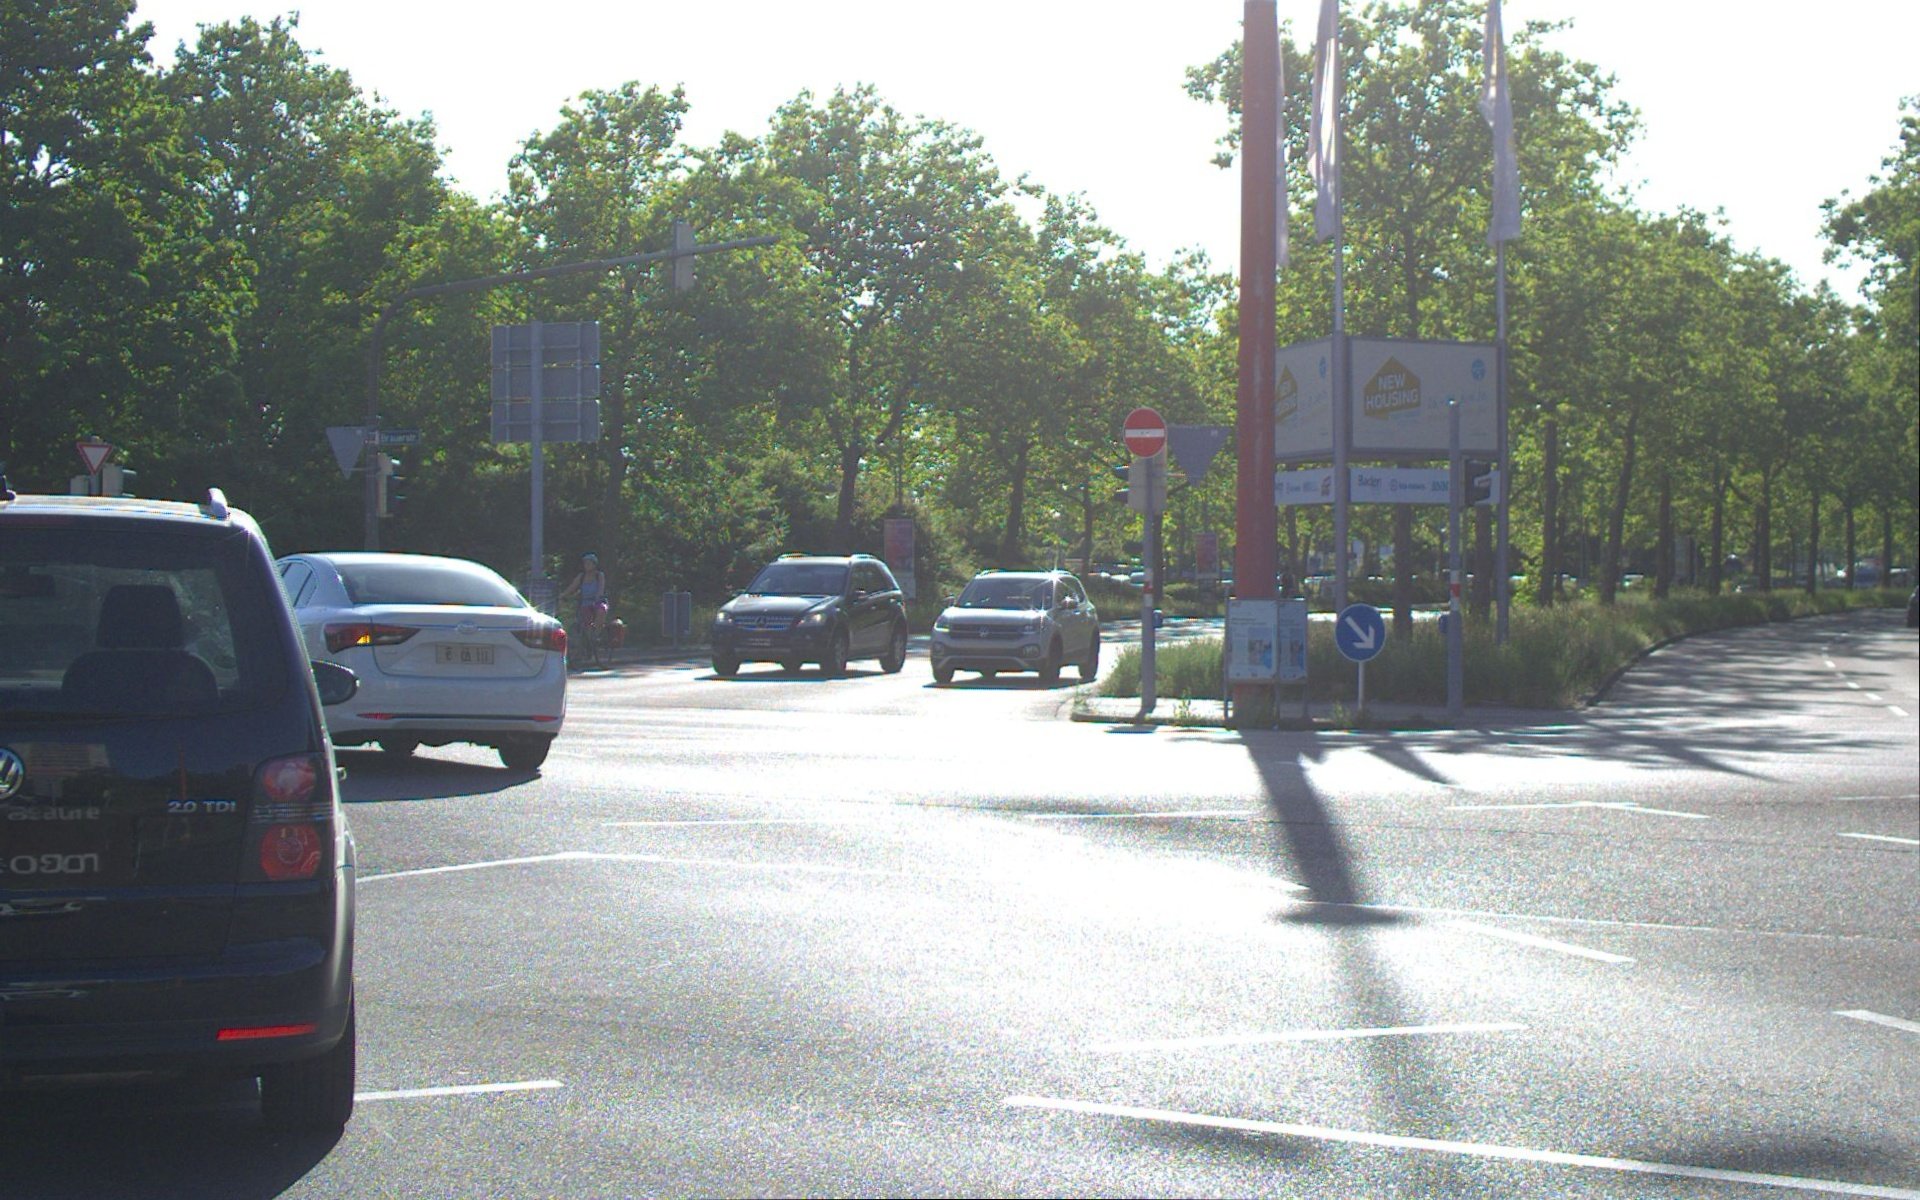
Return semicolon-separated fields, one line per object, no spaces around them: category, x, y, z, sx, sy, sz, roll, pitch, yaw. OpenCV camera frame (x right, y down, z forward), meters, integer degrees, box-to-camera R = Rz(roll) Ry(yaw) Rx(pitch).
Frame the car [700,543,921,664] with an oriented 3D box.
car;-2.193;0.021;51.774;1.904;1.720;4.650;1;1;16

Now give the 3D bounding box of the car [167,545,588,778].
car;-4.196;0.366;24.191;1.767;1.459;4.367;0;1;-26

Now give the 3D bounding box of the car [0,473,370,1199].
car;-2.627;0.496;9.942;1.767;1.638;4.925;1;1;-10

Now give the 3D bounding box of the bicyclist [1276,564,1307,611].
bicyclist;10.086;-0.382;104.546;0.736;1.431;0.965;0;1;20

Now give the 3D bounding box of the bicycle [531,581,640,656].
bicycle;-5.747;0.269;52.831;0.765;1.087;2.013;0;1;23

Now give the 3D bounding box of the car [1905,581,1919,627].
car;31.058;0.138;109.364;1.791;1.383;4.047;2;1;14

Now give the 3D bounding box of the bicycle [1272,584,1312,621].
bicycle;10.095;0.080;104.577;0.736;1.088;2.013;0;1;20

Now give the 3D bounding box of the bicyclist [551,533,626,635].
bicyclist;-5.716;-0.252;52.896;0.760;1.552;0.980;0;1;23

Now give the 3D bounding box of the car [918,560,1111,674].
car;0.822;0.209;49.114;1.769;1.533;4.088;1;1;15
